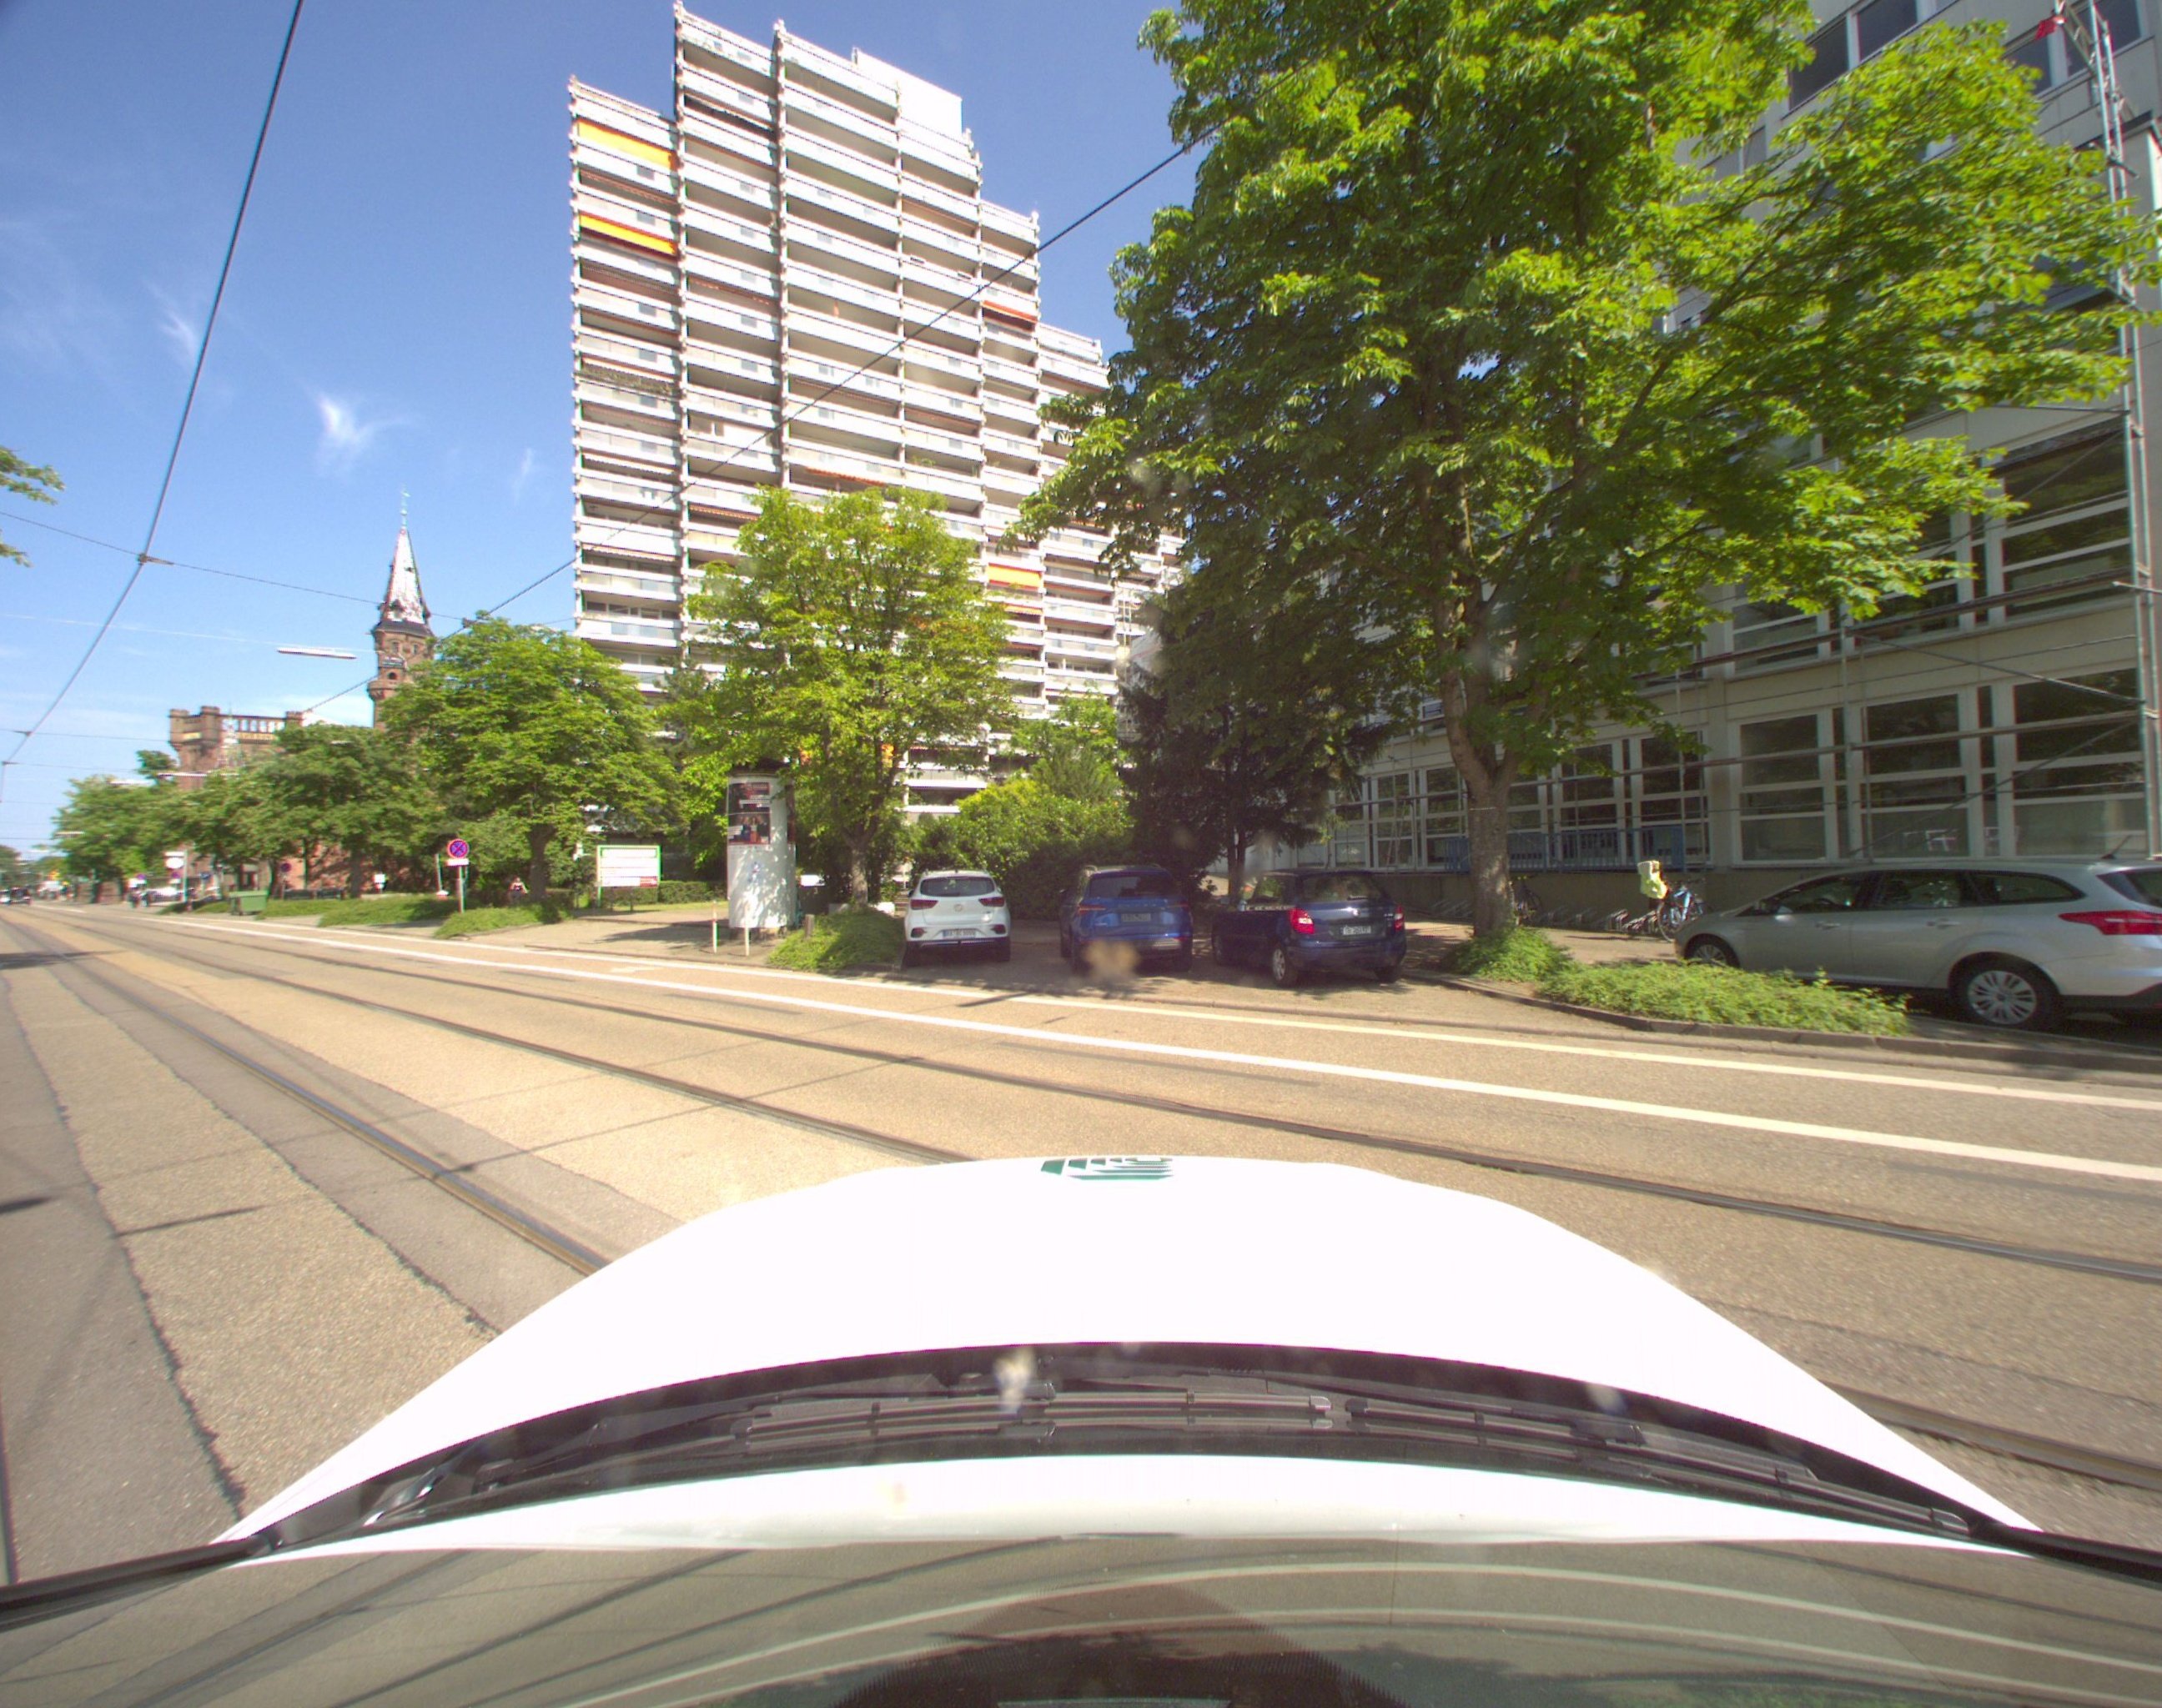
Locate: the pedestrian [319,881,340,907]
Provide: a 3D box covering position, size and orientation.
[{"bbox_3d":[-54.888,2.914,59.476,1.249,1.798,1.066,-3,-3,44],"label":"pedestrian"}]

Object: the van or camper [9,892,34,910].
[{"bbox_3d":[-159.606,7.045,122.680,5.785,2.620,2.064,-2,-2,35],"label":"van or camper"}]

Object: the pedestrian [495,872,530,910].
[{"bbox_3d":[-27.190,1.773,38.970,1.248,1.798,1.066,-3,-3,40],"label":"pedestrian"}]

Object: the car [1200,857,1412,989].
[{"bbox_3d":[2.976,0.859,11.517,1.571,1.531,3.447,-1,-1,-9],"label":"car"}]

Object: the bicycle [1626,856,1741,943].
[{"bbox_3d":[10.788,0.783,14.569,2.092,1.453,0.658,-1,-2,-23],"label":"bicycle"}]

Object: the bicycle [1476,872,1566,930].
[{"bbox_3d":[9.155,0.950,16.914,2.213,1.086,0.735,-1,-2,-36],"label":"bicycle"}]

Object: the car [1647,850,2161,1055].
[{"bbox_3d":[8.350,0.758,8.200,1.778,1.486,4.421,0,-1,-9],"label":"car"}]

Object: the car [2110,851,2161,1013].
[{"bbox_3d":[10.898,0.672,5.944,1.606,1.486,3.935,0,-1,-7],"label":"car"}]

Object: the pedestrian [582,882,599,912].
[{"bbox_3d":[-19.734,1.729,32.761,0.536,1.154,0.694,-1,-2,-32],"label":"pedestrian"}]

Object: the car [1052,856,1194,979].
[{"bbox_3d":[0.517,0.884,13.312,1.772,1.622,3.939,-2,0,-5],"label":"car"}]

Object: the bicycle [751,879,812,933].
[{"bbox_3d":[-7.660,1.322,20.810,1.600,1.309,0.550,-2,-2,31],"label":"bicycle"}]

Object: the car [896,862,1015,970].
[{"bbox_3d":[-2.379,1.035,15.122,1.815,1.606,3.930,-4,-1,-11],"label":"car"}]

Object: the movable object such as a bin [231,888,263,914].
[{"bbox_3d":[-49.825,2.795,48.631,1.066,1.453,1.274,-2,-2,42],"label":"movable object such as a bin"}]
